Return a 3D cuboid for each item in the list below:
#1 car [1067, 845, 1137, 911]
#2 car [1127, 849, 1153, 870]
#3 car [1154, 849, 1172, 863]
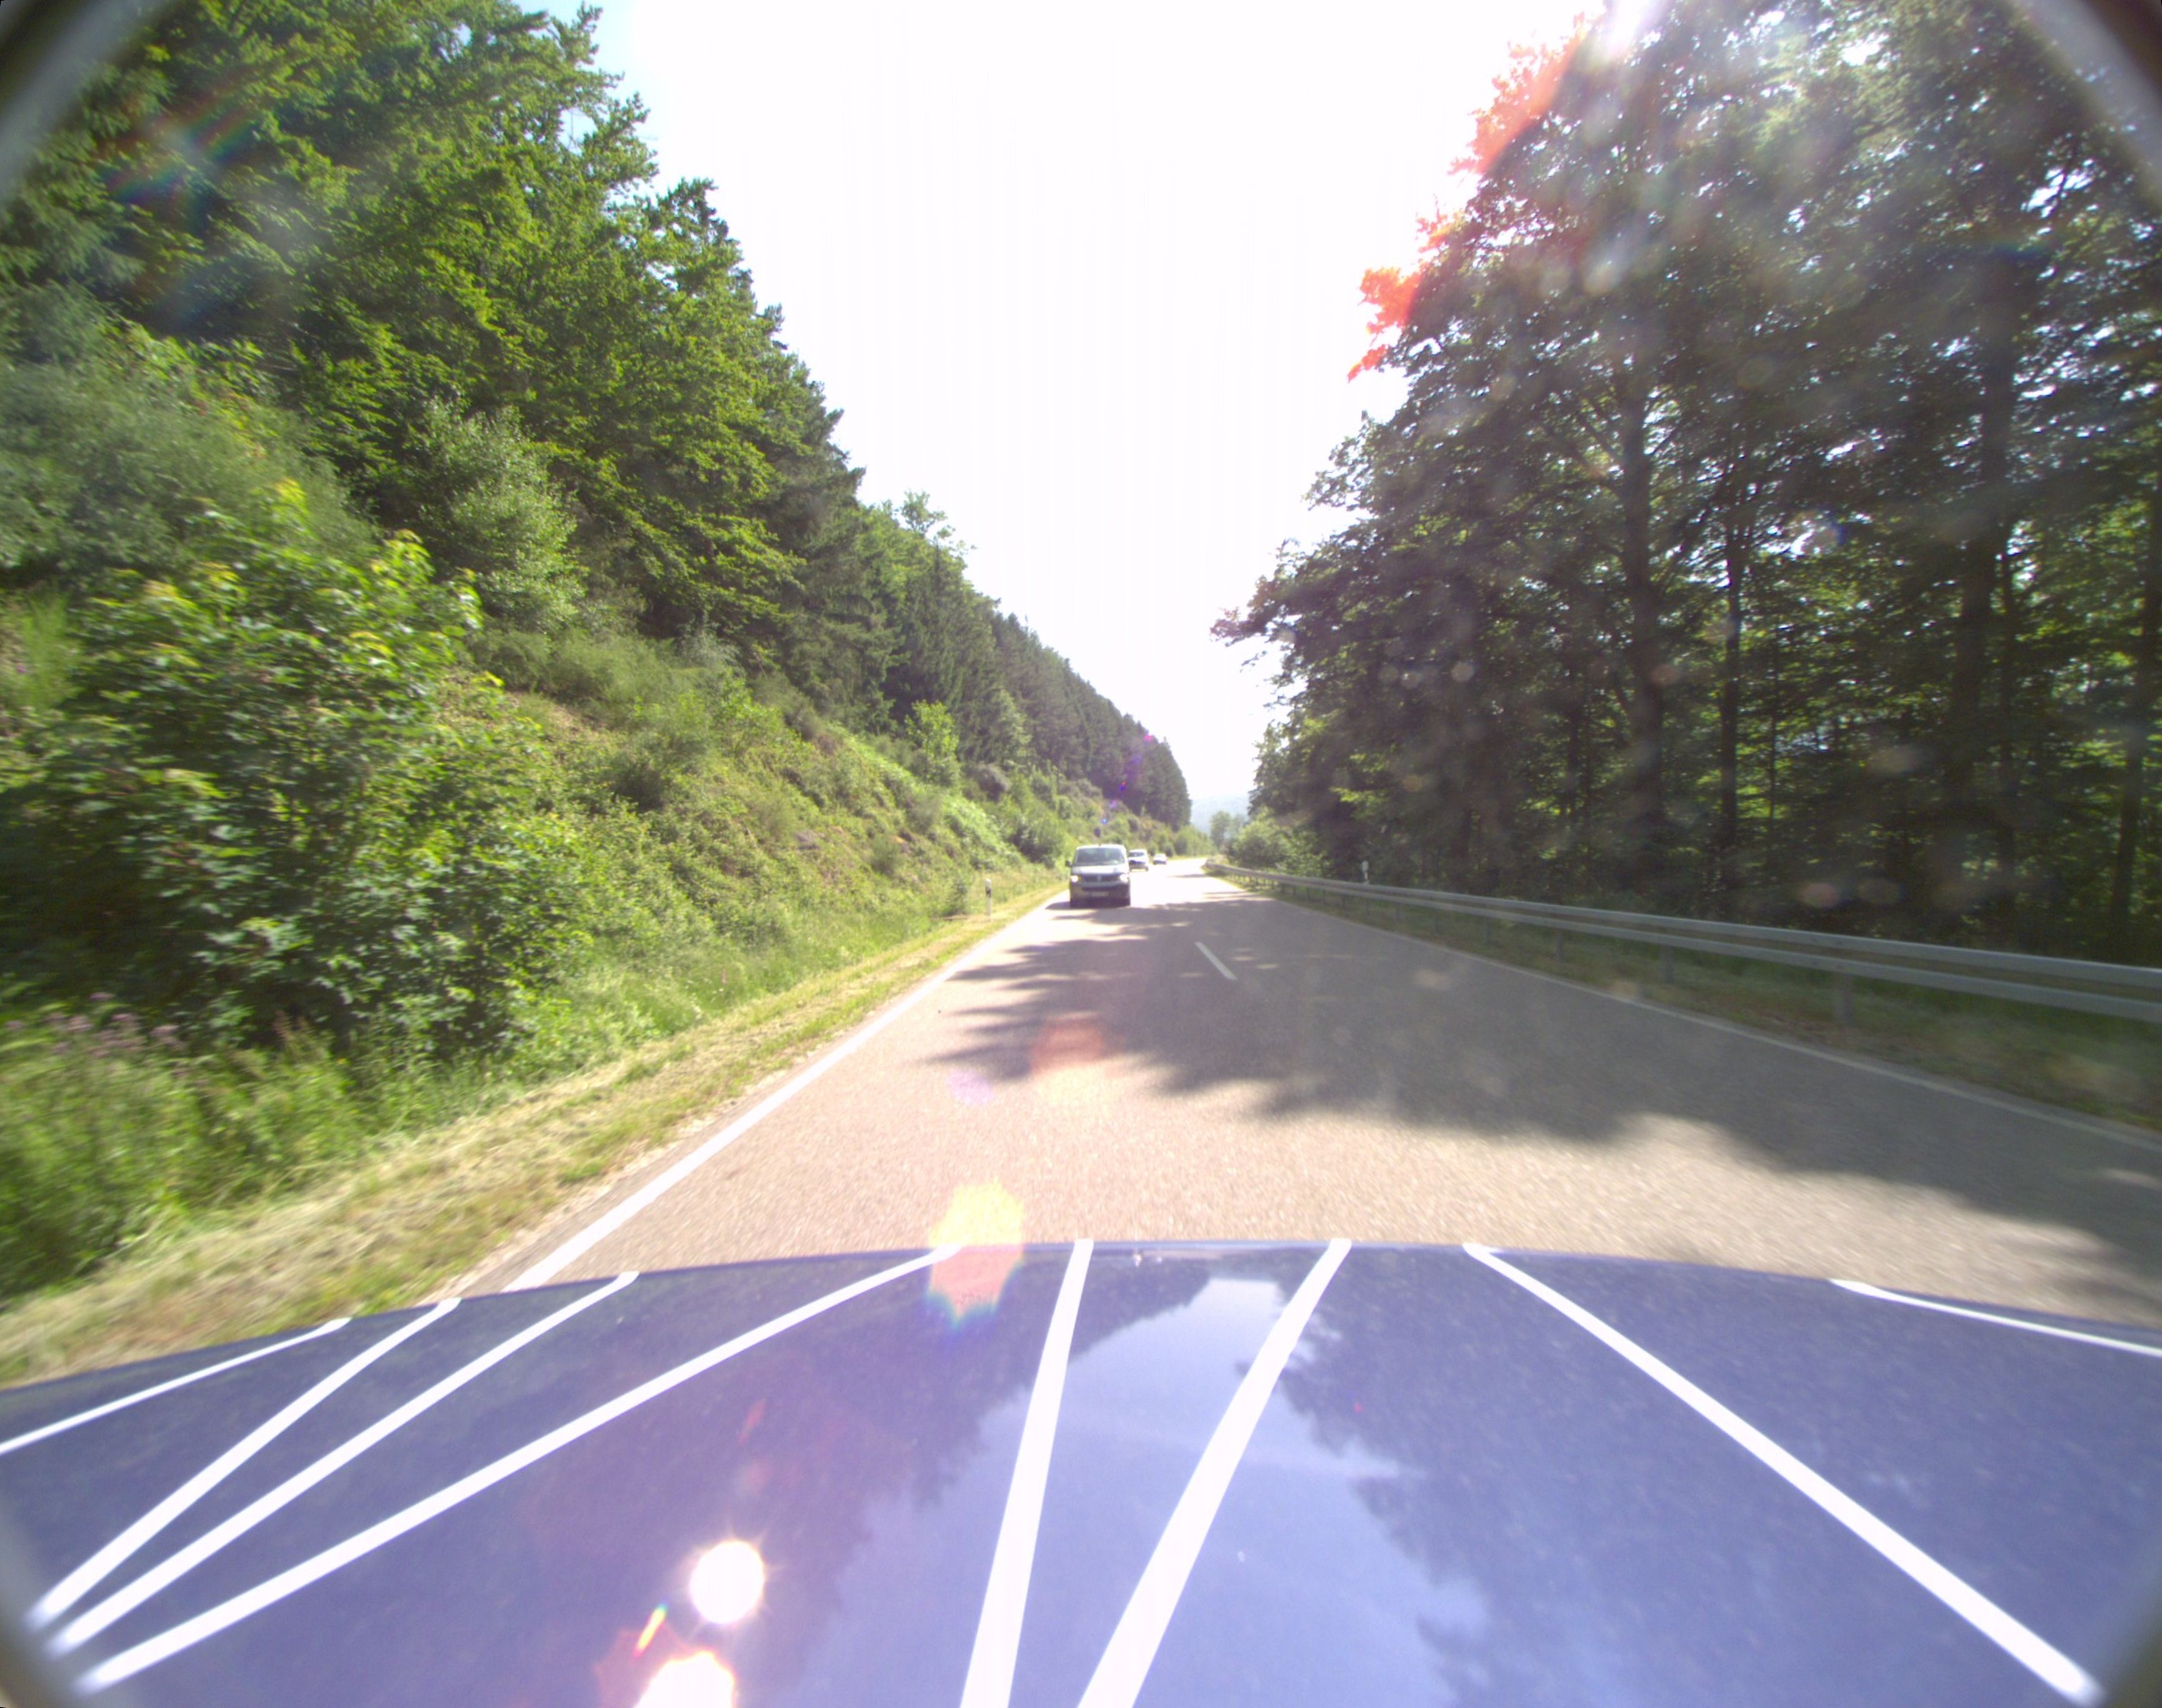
[{"bbox_3d":[0.686,0.696,24.826,1.990,1.899,4.760,-2,0,2],"label":"car"},{"bbox_3d":[5.279,0.472,67.679,2.136,1.824,4.724,-1,0,6],"label":"car"},{"bbox_3d":[10.790,0.286,100.358,1.997,1.718,4.003,-1,0,11],"label":"car"}]
